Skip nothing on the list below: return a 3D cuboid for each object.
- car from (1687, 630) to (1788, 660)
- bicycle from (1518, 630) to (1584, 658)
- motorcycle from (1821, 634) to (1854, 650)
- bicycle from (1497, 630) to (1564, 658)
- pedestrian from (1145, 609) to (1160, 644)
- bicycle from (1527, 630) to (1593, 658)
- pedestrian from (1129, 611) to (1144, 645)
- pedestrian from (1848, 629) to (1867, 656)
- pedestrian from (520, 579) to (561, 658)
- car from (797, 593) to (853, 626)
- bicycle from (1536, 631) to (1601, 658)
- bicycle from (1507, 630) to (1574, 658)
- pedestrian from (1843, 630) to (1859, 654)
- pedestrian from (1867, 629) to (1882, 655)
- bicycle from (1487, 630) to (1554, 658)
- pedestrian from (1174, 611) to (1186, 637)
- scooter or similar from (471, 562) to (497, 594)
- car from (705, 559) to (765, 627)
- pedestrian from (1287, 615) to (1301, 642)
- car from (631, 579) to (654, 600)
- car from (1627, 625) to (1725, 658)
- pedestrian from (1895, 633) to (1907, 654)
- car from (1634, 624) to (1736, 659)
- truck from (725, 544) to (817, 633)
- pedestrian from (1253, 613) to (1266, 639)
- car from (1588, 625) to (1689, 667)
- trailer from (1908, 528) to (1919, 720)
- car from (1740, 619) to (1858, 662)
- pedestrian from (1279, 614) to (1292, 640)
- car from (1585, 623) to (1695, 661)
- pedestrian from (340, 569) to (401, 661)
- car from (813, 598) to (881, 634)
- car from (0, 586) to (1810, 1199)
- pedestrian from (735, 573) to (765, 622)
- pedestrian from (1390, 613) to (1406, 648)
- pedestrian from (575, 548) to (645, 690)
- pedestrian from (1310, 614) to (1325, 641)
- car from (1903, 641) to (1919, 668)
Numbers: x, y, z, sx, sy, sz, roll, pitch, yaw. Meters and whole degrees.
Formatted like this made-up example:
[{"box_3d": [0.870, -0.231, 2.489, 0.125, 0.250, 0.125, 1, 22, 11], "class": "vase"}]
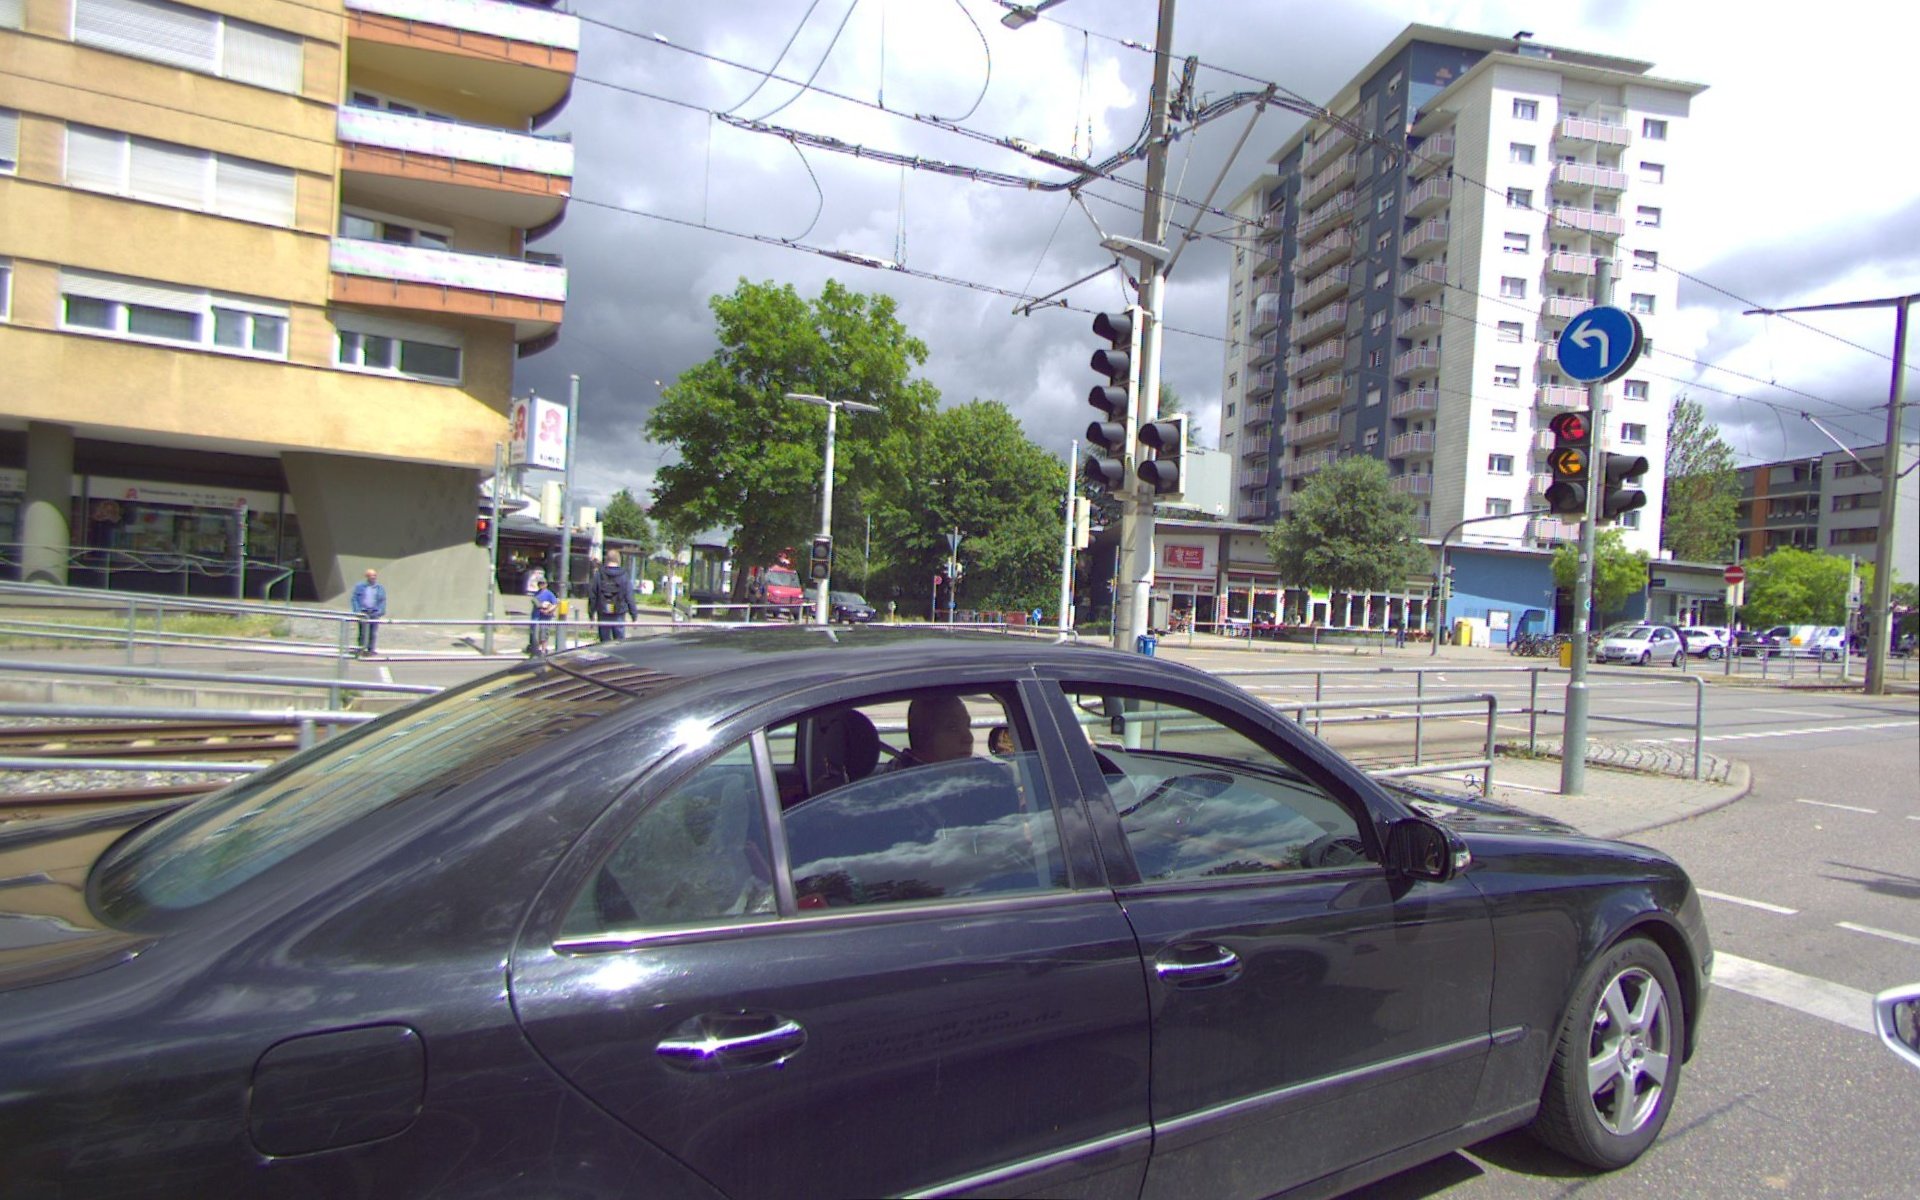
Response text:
[{"box_3d": [42.621, 2.452, 55.170, 3.920, 1.402, 1.907, 2, 0, 17], "class": "car"}, {"box_3d": [25.482, 1.896, 43.336, 0.697, 1.080, 2.415, 2, 0, -30], "class": "bicycle"}, {"box_3d": [71.005, 3.421, 81.278, 0.734, 1.194, 1.880, 2, 0, -34], "class": "motorcycle"}, {"box_3d": [24.080, 1.849, 42.444, 0.697, 1.080, 2.415, 2, 0, -30], "class": "bicycle"}, {"box_3d": [8.435, 1.148, 44.036, 0.516, 1.492, 0.518, 2, 0, -5], "class": "pedestrian"}, {"box_3d": [26.111, 1.917, 43.745, 0.697, 1.080, 2.415, 2, 0, -30], "class": "bicycle"}, {"box_3d": [7.833, 1.226, 44.604, 0.516, 1.492, 0.572, 2, 0, -5], "class": "pedestrian"}, {"box_3d": [58.175, 2.736, 65.118, 0.831, 1.672, 0.610, 3, 2, 41], "class": "pedestrian"}, {"box_3d": [-8.521, 0.372, 20.384, 0.641, 1.534, 0.715, 2, 5, -30], "class": "pedestrian"}, {"box_3d": [-7.038, 0.469, 52.044, 1.971, 1.623, 3.979, 2, 0, -22], "class": "car"}, {"box_3d": [26.729, 1.937, 44.162, 0.697, 1.080, 2.415, 2, 0, -30], "class": "bicycle"}, {"box_3d": [24.748, 1.871, 42.866, 0.697, 1.080, 2.415, 2, 0, -30], "class": "bicycle"}, {"box_3d": [60.631, 2.829, 68.342, 0.654, 1.594, 0.687, 2, 0, 30], "class": "pedestrian"}, {"box_3d": [65.612, 3.005, 72.069, 0.834, 1.816, 0.607, 2, 0, -33], "class": "pedestrian"}, {"box_3d": [23.419, 1.827, 42.041, 0.697, 1.080, 2.415, 2, 0, -30], "class": "bicycle"}, {"box_3d": [12.766, 1.368, 58.255, 0.515, 1.492, 0.572, 2, 0, 1], "class": "pedestrian"}, {"box_3d": [-16.733, -0.763, 35.301, 0.540, 1.108, 1.736, 2, 0, -34], "class": "scooter or similar"}, {"box_3d": [-11.946, -0.372, 53.049, 1.971, 3.343, 6.270, 2, 0, -22], "class": "car"}, {"box_3d": [18.947, 1.617, 56.987, 0.565, 1.492, 0.522, 2, 0, -29], "class": "pedestrian"}, {"box_3d": [-34.079, -1.096, 107.857, 1.971, 2.124, 4.712, 2, 0, -22], "class": "car"}, {"box_3d": [36.812, 2.133, 51.747, 3.691, 1.516, 1.747, 2, 0, 18], "class": "car"}, {"box_3d": [69.869, 3.220, 74.554, 0.490, 1.479, 0.559, 2, 0, 30], "class": "pedestrian"}, {"box_3d": [38.645, 2.197, 53.628, 3.919, 1.654, 1.907, 2, 0, 12], "class": "car"}, {"box_3d": [-8.868, -0.501, 46.496, 2.512, 3.723, 7.057, 2, 0, -24], "class": "truck"}, {"box_3d": [17.334, 1.506, 58.117, 0.515, 1.492, 0.572, 2, 0, 1], "class": "pedestrian"}, {"box_3d": [26.872, 1.813, 39.772, 3.708, 1.553, 1.811, 2, 0, -28], "class": "car"}, {"box_3d": [24.589, 0.623, 17.986, 11.376, 3.823, 3.062, 2, 0, 7], "class": "trailer"}, {"box_3d": [47.029, 2.246, 56.397, 4.666, 2.185, 1.907, 2, 0, 17], "class": "car"}, {"box_3d": [18.923, 1.556, 58.430, 0.516, 1.492, 0.572, 2, 0, -2], "class": "pedestrian"}, {"box_3d": [32.832, 1.996, 48.613, 3.919, 1.612, 1.934, 2, 0, 11], "class": "car"}, {"box_3d": [-11.073, 0.277, 18.852, 0.902, 1.619, 0.714, 2, 5, -34], "class": "pedestrian"}, {"box_3d": [-5.254, 0.698, 46.177, 1.972, 1.514, 3.976, 2, 0, -24], "class": "car"}, {"box_3d": [0.027, 0.746, 2.699, 4.619, 1.417, 1.962, 2, 0, -30], "class": "car"}, {"box_3d": [-8.032, -0.102, 38.395, 0.873, 1.835, 0.641, 2, 0, 33], "class": "pedestrian"}, {"box_3d": [20.967, 1.476, 48.103, 0.594, 1.665, 0.414, 2, 0, -34], "class": "pedestrian"}, {"box_3d": [-5.039, 0.271, 14.505, 0.839, 1.960, 0.918, 2, 0, -15], "class": "pedestrian"}, {"box_3d": [20.317, 1.569, 57.126, 0.565, 1.492, 0.522, 2, 0, -29], "class": "pedestrian"}, {"box_3d": [63.941, 3.623, 66.040, 4.058, 1.685, 1.980, 2, 2, -35], "class": "car"}]
